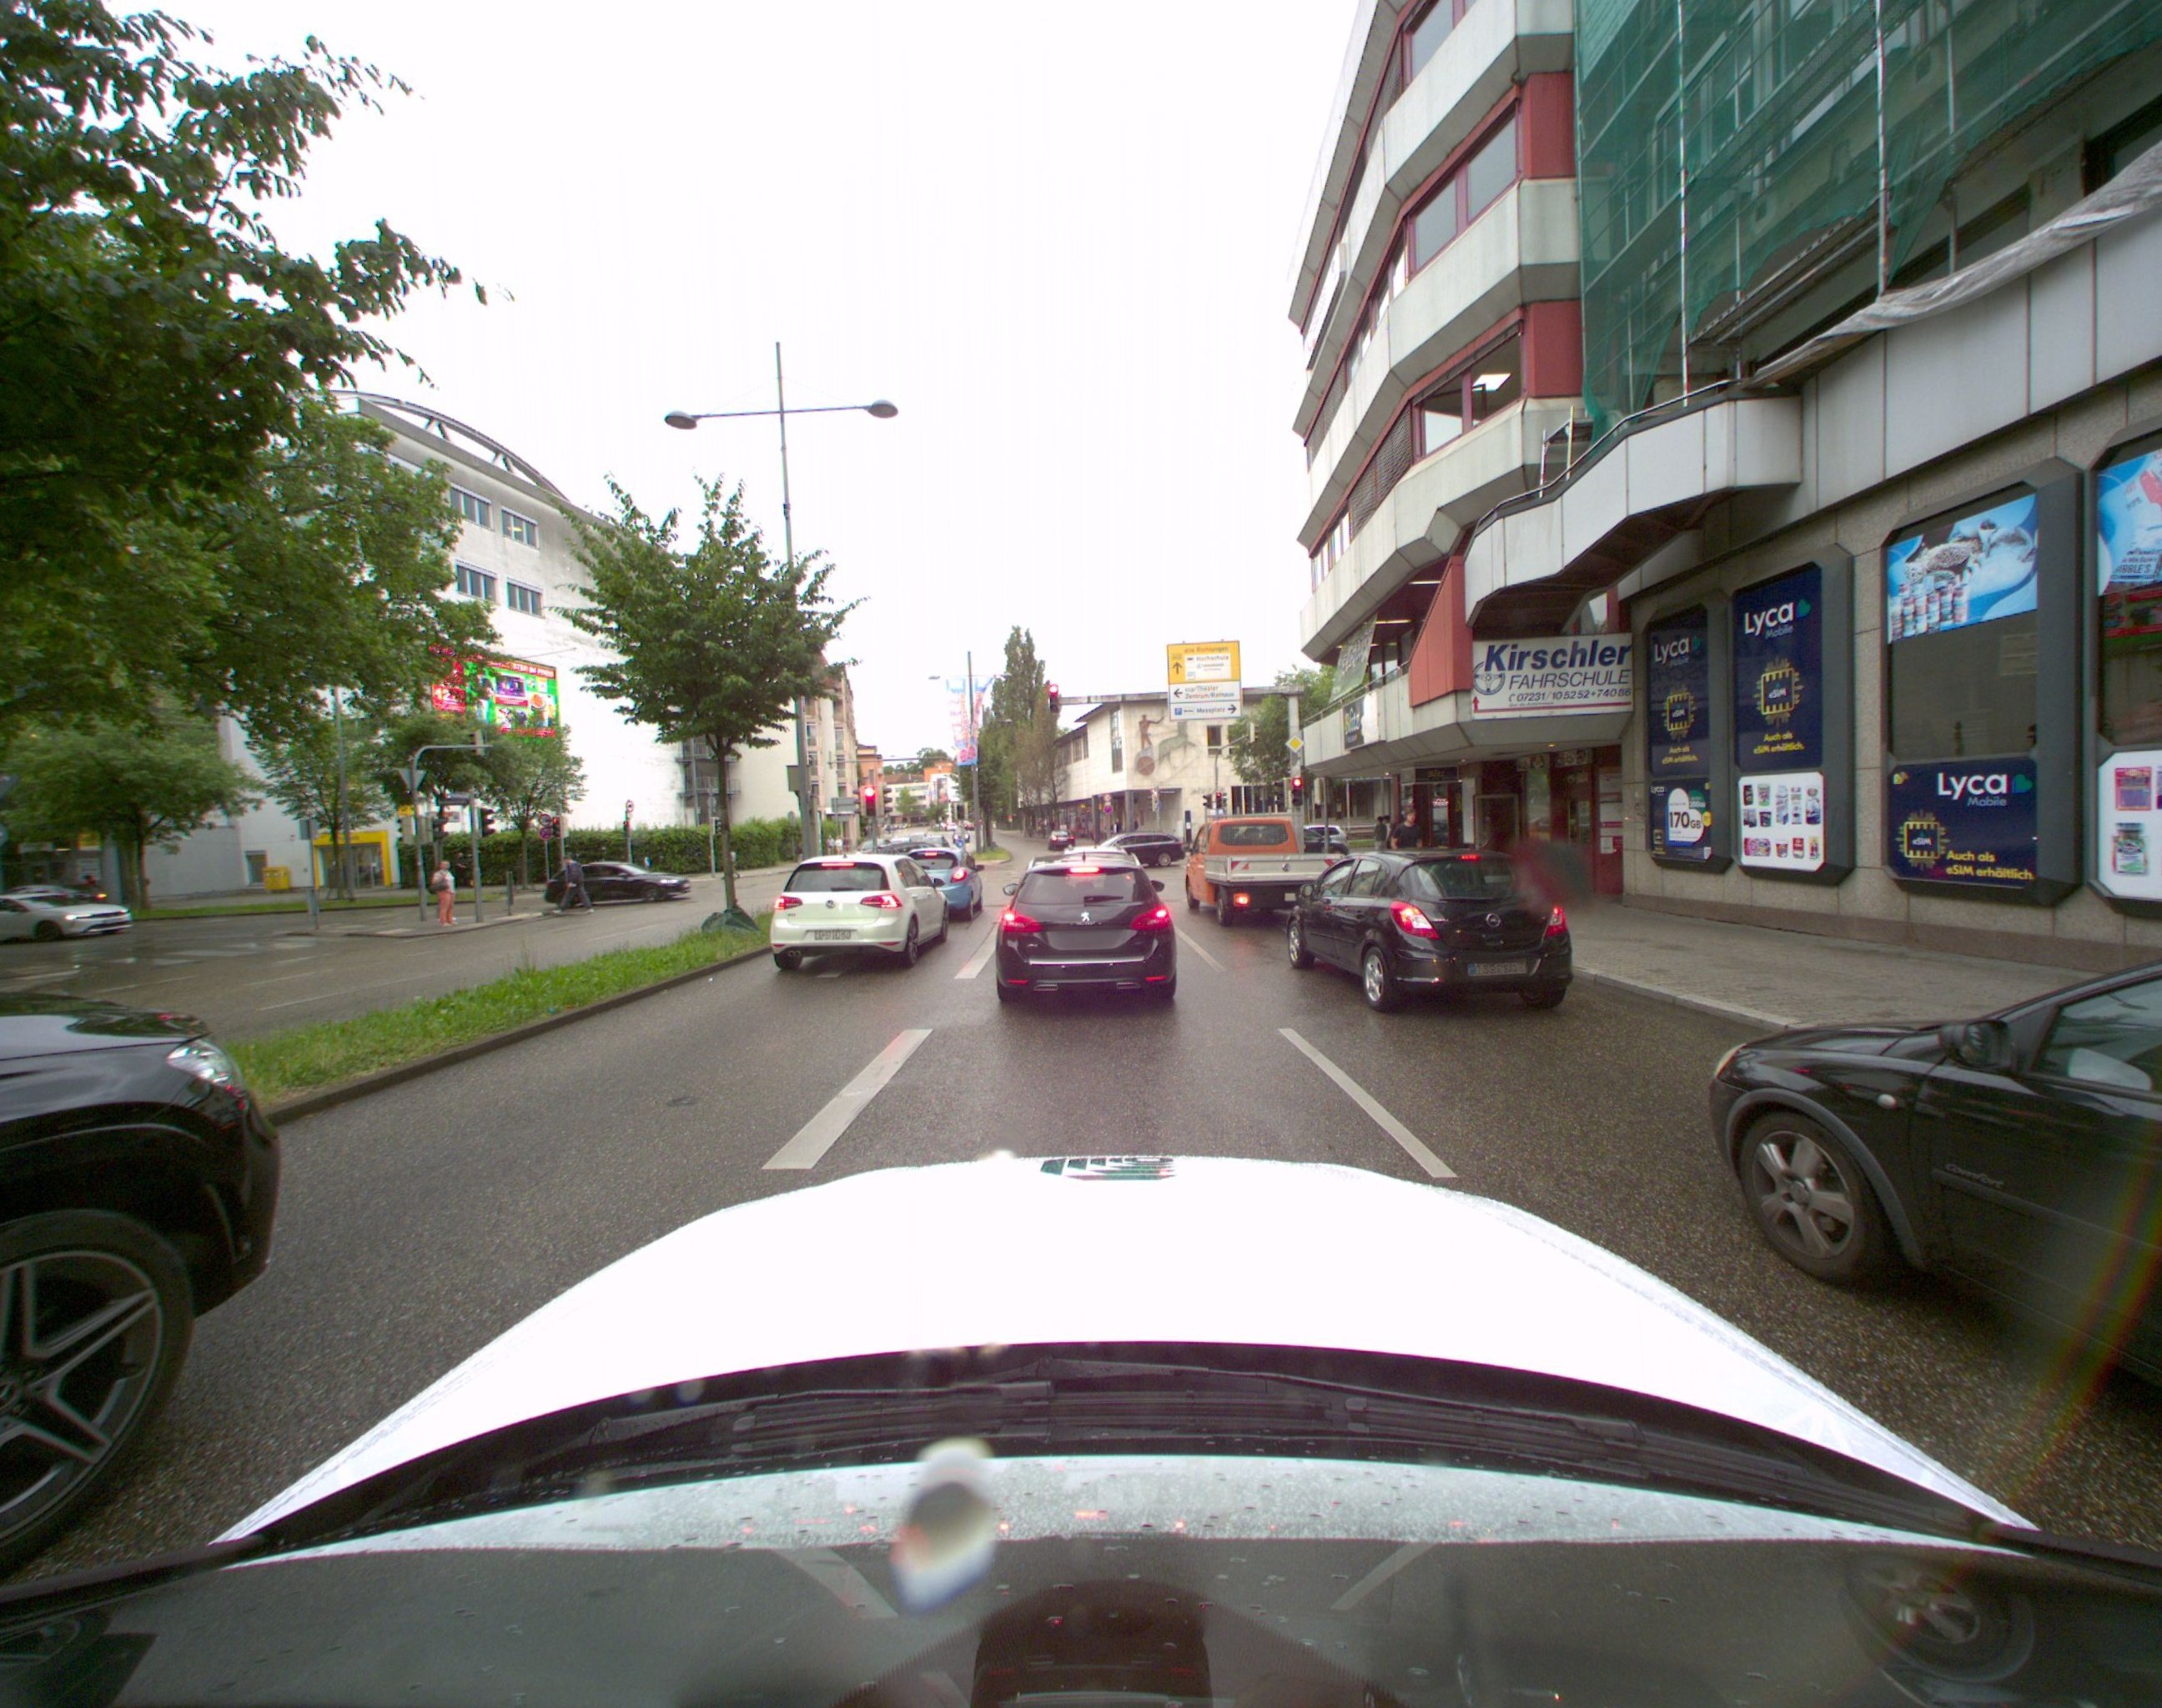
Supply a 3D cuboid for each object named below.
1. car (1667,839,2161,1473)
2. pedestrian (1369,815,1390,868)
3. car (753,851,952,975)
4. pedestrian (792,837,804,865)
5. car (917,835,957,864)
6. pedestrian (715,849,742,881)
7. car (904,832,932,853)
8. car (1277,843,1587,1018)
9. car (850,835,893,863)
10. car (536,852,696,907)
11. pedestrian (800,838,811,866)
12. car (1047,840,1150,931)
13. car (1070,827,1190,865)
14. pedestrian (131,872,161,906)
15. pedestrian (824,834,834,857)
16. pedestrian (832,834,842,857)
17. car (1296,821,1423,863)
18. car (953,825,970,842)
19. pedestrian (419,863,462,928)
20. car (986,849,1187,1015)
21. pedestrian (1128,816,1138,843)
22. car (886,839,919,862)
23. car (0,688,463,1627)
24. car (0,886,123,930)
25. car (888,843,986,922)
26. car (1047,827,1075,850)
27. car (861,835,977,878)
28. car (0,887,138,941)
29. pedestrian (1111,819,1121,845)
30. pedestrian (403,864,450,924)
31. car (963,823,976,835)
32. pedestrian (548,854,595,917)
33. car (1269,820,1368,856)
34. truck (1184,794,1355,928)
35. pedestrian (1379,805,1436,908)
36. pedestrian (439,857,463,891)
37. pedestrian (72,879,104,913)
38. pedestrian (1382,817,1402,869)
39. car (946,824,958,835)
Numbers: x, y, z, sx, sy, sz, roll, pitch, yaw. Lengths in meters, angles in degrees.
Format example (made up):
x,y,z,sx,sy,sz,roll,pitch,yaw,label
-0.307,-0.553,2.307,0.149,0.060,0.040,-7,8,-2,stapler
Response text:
x,y,z,sx,sy,sz,roll,pitch,yaw,label
3.248,0.689,1.692,1.600,1.429,3.626,-1,1,3,car
9.592,-0.394,26.203,0.424,1.682,0.450,-3,-1,0,pedestrian
-3.045,0.696,11.696,1.772,1.429,3.841,-1,1,-1,car
-17.590,-0.171,50.695,0.538,1.748,0.745,-1,-1,-7,pedestrian
-8.601,-0.237,48.831,1.739,1.579,3.997,-1,-1,-1,car
-17.531,0.541,40.507,1.059,1.578,0.683,-1,-1,-3,pedestrian
-12.318,-0.892,61.721,1.630,1.486,3.604,-1,1,-4,car
3.395,0.614,8.706,1.611,1.429,3.840,-1,1,-1,car
-11.918,-0.328,46.453,1.569,1.486,3.608,-1,1,-1,car
-15.497,0.806,27.352,4.226,1.565,1.699,-3,1,-9,car
-17.630,-0.139,52.183,0.538,1.748,0.564,-1,-1,-3,pedestrian
0.344,0.492,15.435,1.690,1.486,3.795,-1,1,2,car
2.011,-0.358,33.753,4.730,1.486,1.630,-1,1,-15,car
-45.259,1.681,39.411,0.727,1.643,0.640,-1,-1,7,pedestrian
-19.242,-0.671,62.100,0.595,1.728,0.655,-1,-1,-7,pedestrian
-18.620,-0.665,62.210,0.595,1.728,0.655,-1,-1,-7,pedestrian
11.074,-0.492,32.514,4.488,1.454,1.789,-2,2,-8,car
-12.790,-2.179,87.004,1.743,1.640,3.988,-1,-1,-9,car
-17.044,1.107,21.684,0.555,1.661,0.580,-2,2,2,pedestrian
0.053,0.681,9.180,1.772,1.429,3.842,-1,1,0,car
3.763,-1.802,59.357,0.633,1.897,0.735,-1,-1,8,pedestrian
-12.009,-0.283,54.867,1.630,1.486,3.604,-1,1,-4,car
-3.175,0.590,0.259,1.903,1.870,5.076,-1,-1,3,car
-42.752,2.238,33.820,4.029,1.454,1.797,-4,3,7,car
-3.024,0.537,17.739,1.629,1.486,3.606,-1,1,-3,car
-1.477,-1.082,59.254,1.722,1.490,4.723,-1,-1,-5,car
-6.902,0.065,34.679,4.513,1.454,1.779,-5,3,-24,car
-32.290,1.843,25.113,4.283,1.486,1.637,-1,1,-3,car
2.530,-1.571,58.313,0.633,1.758,0.735,-1,-1,8,pedestrian
-18.741,1.135,23.327,0.750,1.661,0.628,-2,2,1,pedestrian
-20.265,-4.556,147.881,1.709,1.936,3.979,0,-1,-15,car
-14.788,0.896,23.650,0.921,1.784,0.708,-1,-1,-4,pedestrian
10.414,-0.699,35.787,3.896,1.486,1.617,0,-1,-11,car
3.423,0.052,15.901,2.170,2.172,5.020,-1,1,0,truck
6.142,0.048,15.362,0.736,1.816,0.776,-6,-1,13,pedestrian
-31.168,0.978,40.296,0.730,1.643,0.638,-1,-1,-6,pedestrian
-48.437,2.044,39.715,0.633,1.643,0.735,-1,-1,8,pedestrian
10.153,-0.350,26.572,0.395,1.640,0.504,-3,-1,2,pedestrian
-23.202,-4.420,146.884,1.709,1.882,3.979,0,-1,-15,car
